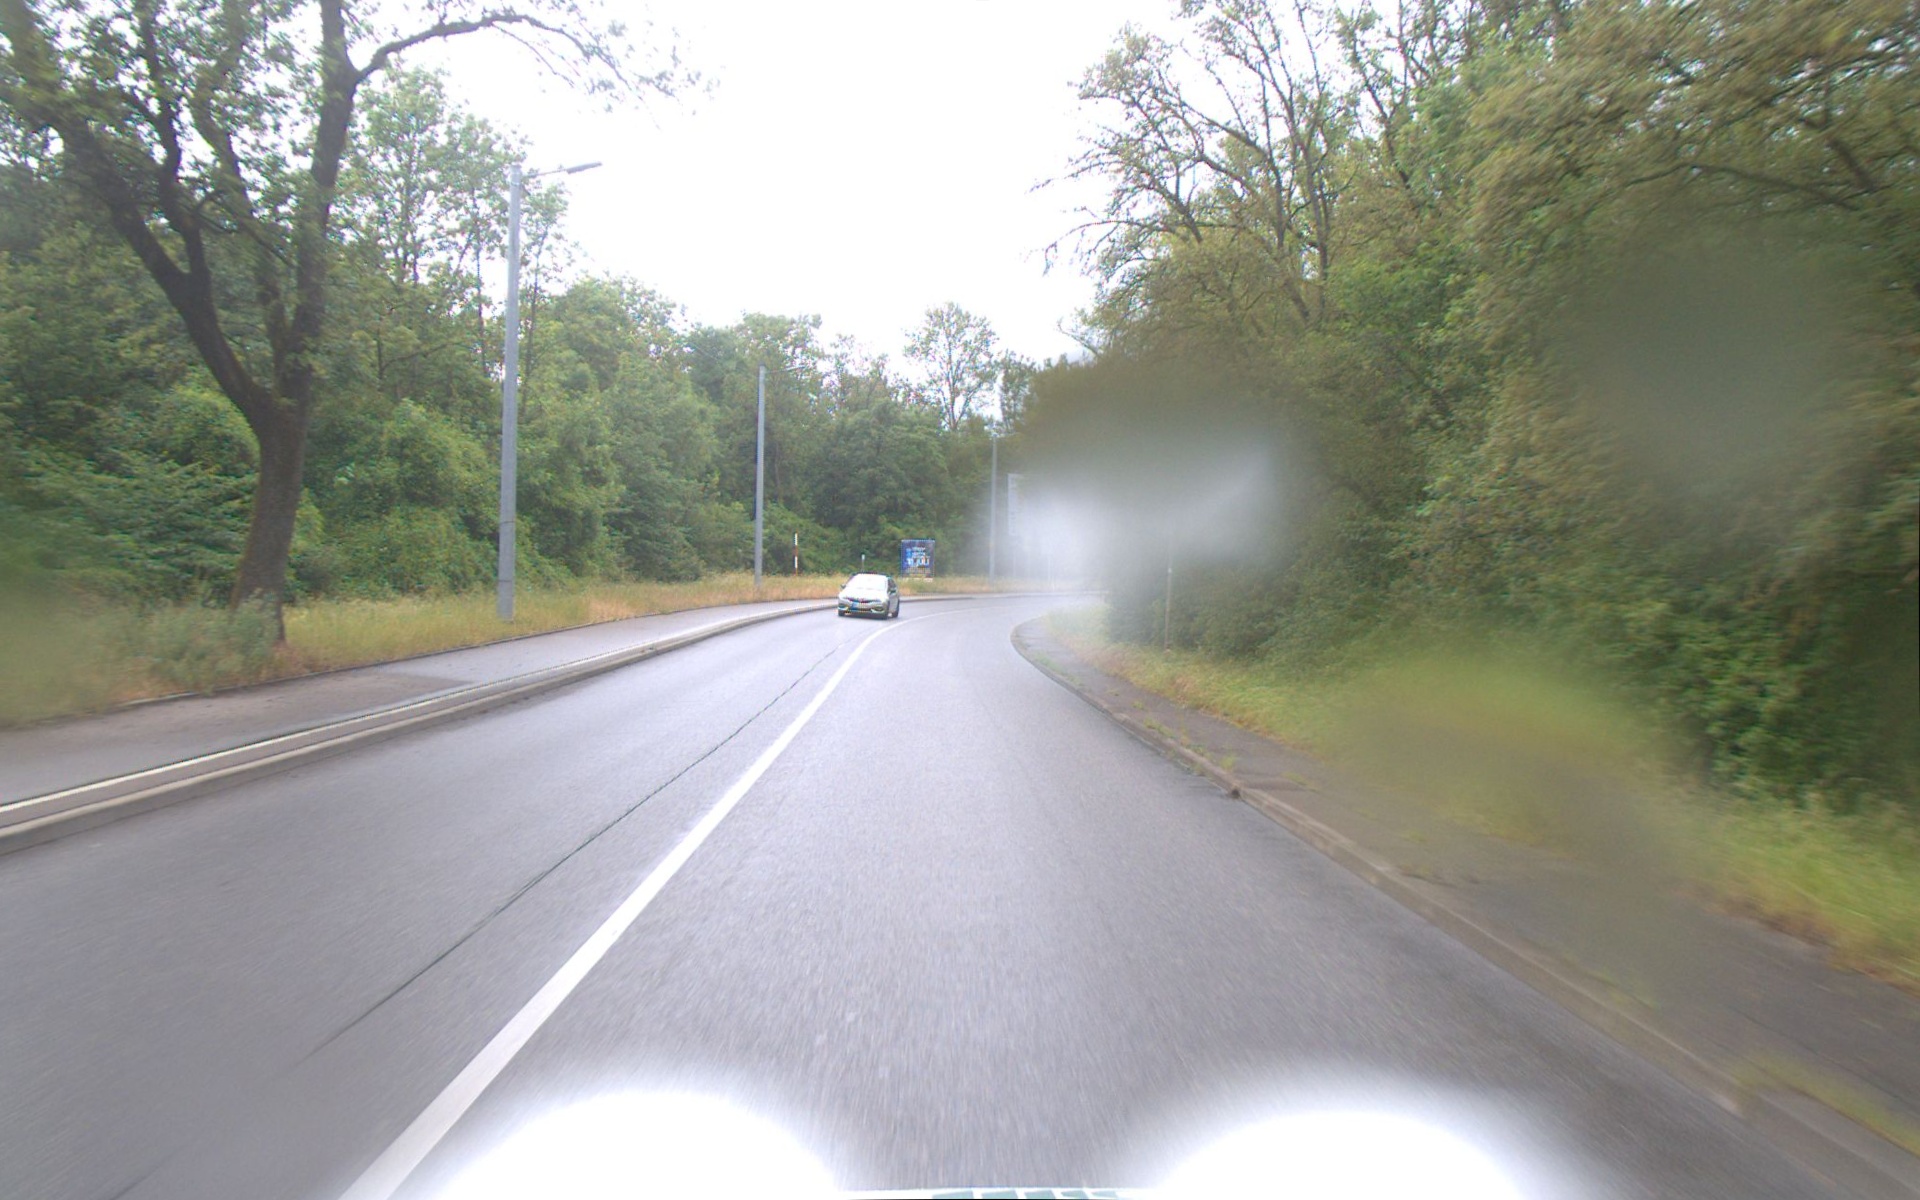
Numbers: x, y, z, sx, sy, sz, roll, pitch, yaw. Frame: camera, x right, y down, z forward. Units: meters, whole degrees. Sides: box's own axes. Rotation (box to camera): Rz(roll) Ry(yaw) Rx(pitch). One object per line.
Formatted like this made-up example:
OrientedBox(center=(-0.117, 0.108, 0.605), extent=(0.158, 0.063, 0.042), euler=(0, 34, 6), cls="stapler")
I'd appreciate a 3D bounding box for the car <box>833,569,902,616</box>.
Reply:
OrientedBox(center=(-3.251, -0.303, 58.717), extent=(1.743, 1.455, 4.478), euler=(4, 1, 5), cls="car")
